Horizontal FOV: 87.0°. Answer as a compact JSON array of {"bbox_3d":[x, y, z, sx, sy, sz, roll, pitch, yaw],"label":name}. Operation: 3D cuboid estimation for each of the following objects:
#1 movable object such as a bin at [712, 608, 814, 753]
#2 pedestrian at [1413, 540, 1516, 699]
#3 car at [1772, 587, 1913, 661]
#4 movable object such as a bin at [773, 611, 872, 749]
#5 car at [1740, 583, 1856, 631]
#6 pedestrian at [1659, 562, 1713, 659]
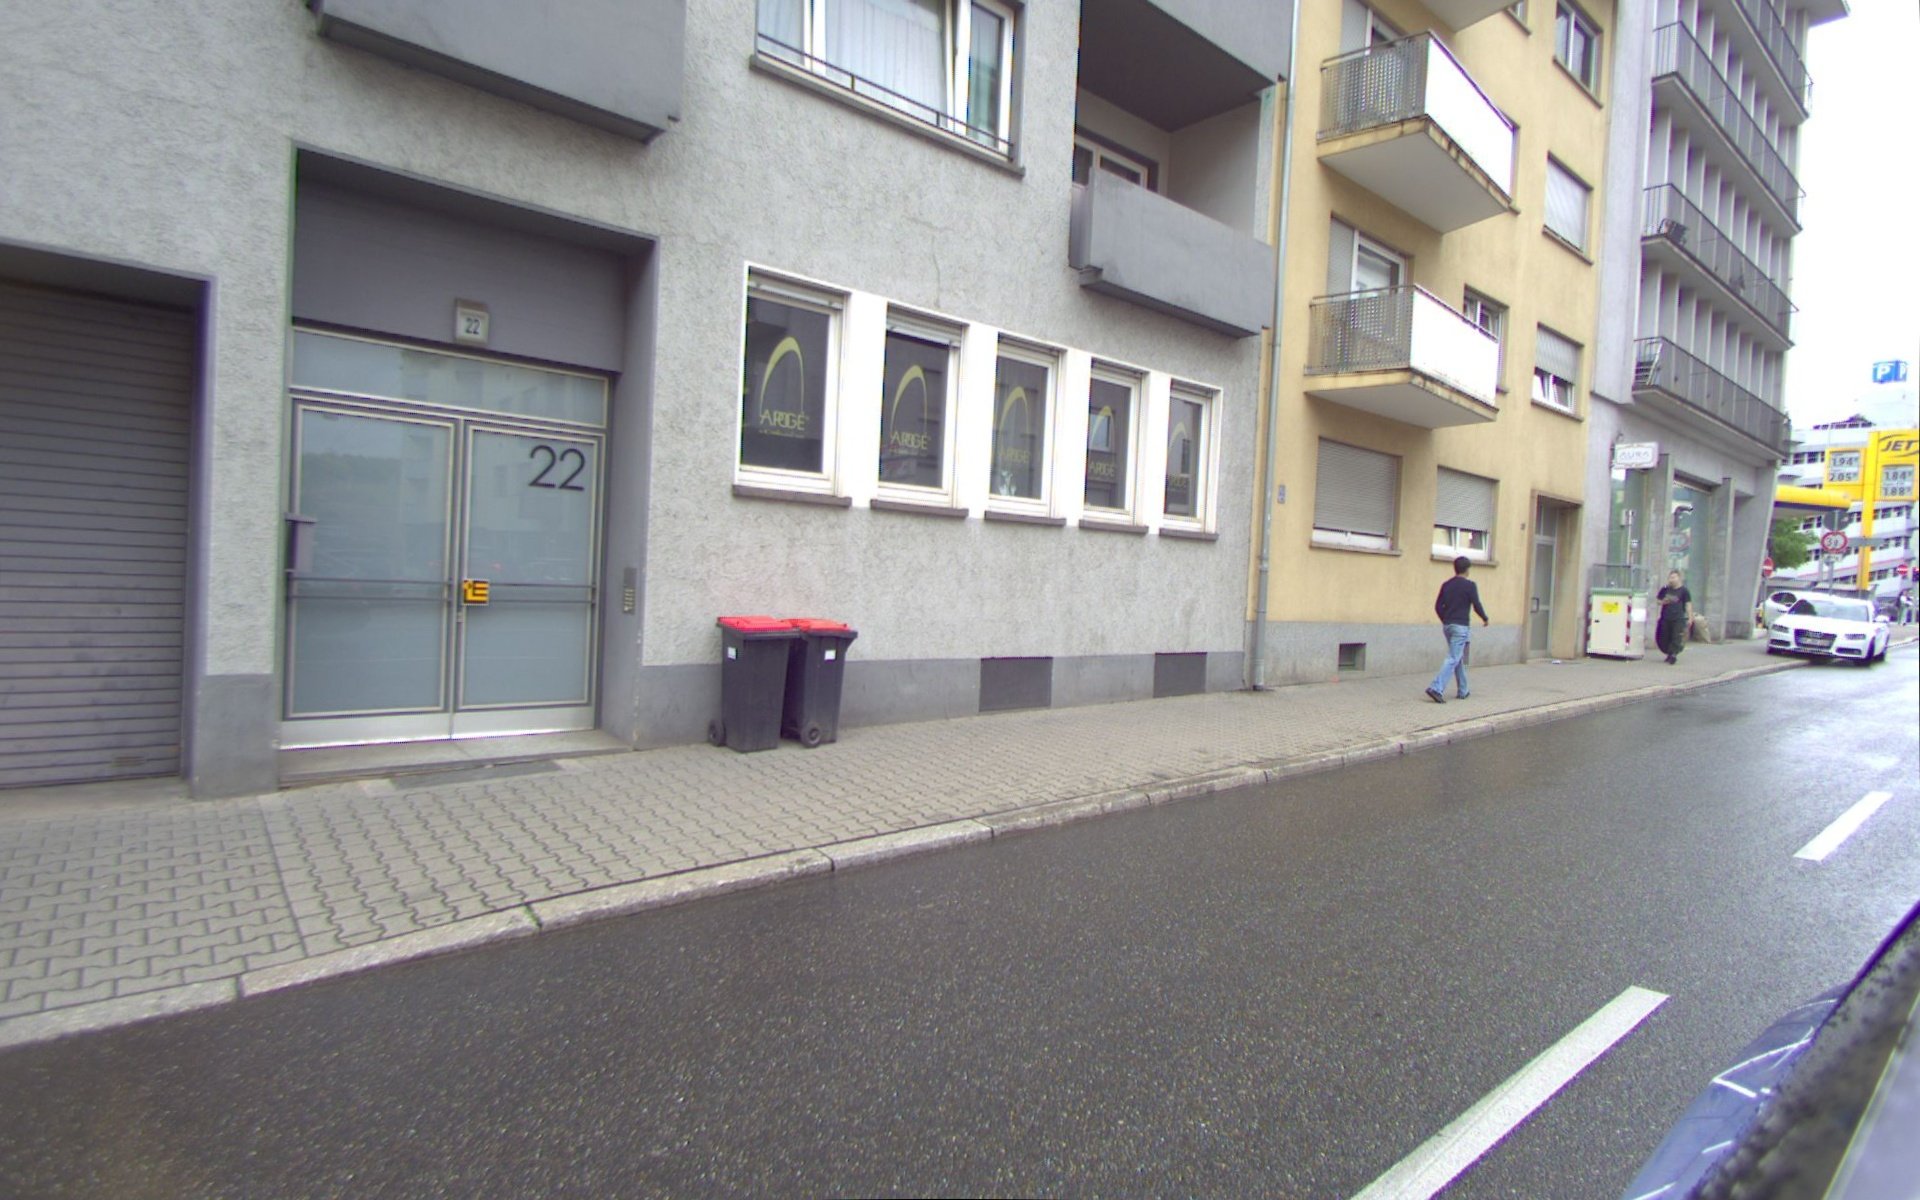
[{"bbox_3d":[-1.454,0.569,7.442,0.506,0.967,0.541,0,5,-40],"label":"movable object such as a bin"},{"bbox_3d":[6.074,0.214,12.175,1.038,1.799,0.644,0,5,-41],"label":"pedestrian"},{"bbox_3d":[20.126,0.482,23.020,4.093,1.453,1.803,0,4,-41],"label":"car"},{"bbox_3d":[-1.063,0.595,7.798,0.506,0.961,0.541,0,5,-40],"label":"movable object such as a bin"},{"bbox_3d":[27.713,0.204,33.623,1.750,1.492,3.973,0,0,21],"label":"car"},{"bbox_3d":[13.802,0.180,19.237,0.677,1.777,0.875,4,3,42],"label":"pedestrian"}]
